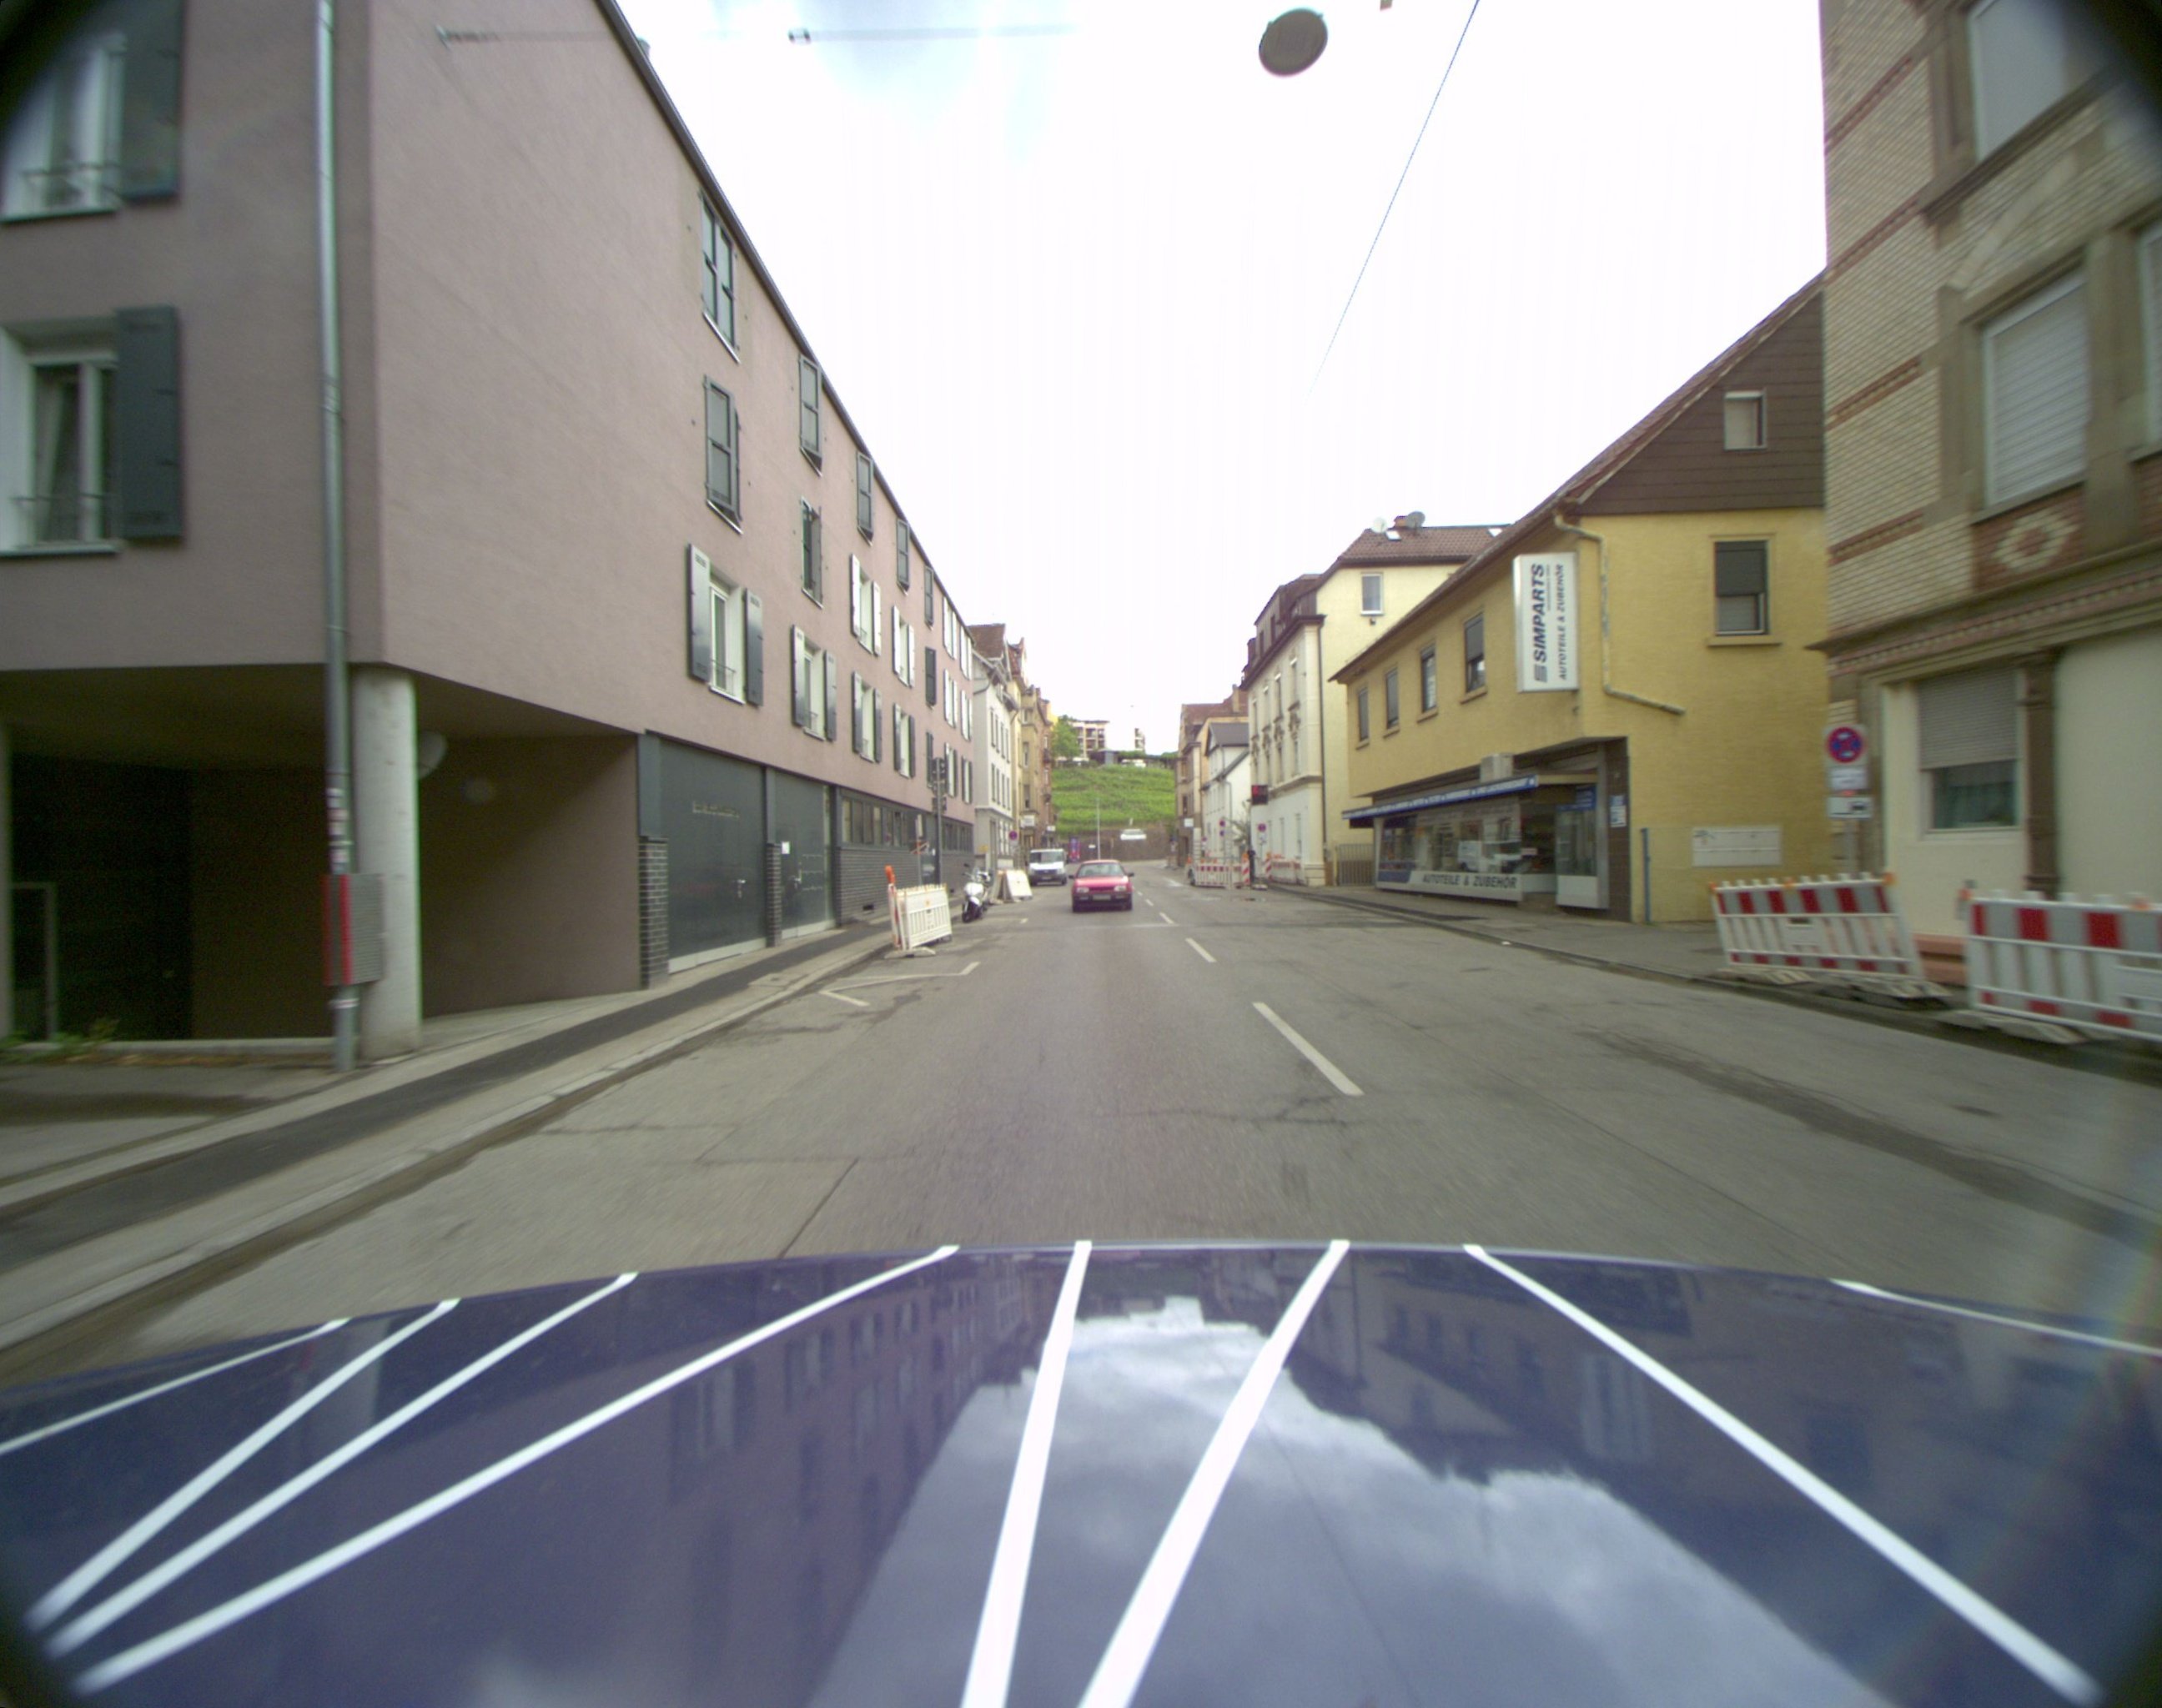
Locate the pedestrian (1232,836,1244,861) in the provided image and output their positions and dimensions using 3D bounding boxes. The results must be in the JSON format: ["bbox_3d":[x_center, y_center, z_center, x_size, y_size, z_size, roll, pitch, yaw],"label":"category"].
[{"bbox_3d":[10.145,-0.372,49.201,0.602,1.557,0.607,-2,1,0],"label":"pedestrian"}]

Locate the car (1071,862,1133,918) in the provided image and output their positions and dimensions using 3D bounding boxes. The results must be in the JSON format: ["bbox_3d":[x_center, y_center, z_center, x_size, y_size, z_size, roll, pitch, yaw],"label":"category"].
[{"bbox_3d":[0.659,0.972,22.146,1.626,1.387,4.000,-1,0,3],"label":"car"}]

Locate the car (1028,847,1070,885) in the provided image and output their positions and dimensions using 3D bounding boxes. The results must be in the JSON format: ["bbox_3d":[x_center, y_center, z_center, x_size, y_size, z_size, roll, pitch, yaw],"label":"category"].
[{"bbox_3d":[-1.712,0.619,42.414,1.998,1.970,4.877,-1,0,1],"label":"car"}]

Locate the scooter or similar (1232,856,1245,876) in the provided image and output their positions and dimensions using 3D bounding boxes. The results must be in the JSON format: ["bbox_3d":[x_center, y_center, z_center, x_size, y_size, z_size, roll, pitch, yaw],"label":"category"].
[{"bbox_3d":[10.184,0.764,49.253,0.561,1.283,1.228,-2,1,1],"label":"scooter or similar"}]

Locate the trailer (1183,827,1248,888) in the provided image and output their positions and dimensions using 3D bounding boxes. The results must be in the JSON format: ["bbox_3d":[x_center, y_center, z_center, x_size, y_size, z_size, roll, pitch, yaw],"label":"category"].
[{"bbox_3d":[6.545,0.128,37.738,2.450,2.788,6.304,0,0,3],"label":"trailer"}]

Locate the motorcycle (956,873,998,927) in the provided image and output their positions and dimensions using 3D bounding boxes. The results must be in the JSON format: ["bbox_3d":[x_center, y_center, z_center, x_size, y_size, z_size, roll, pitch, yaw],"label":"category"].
[{"bbox_3d":[-2.684,1.155,19.810,0.648,1.219,2.337,-2,1,1],"label":"motorcycle"}]
